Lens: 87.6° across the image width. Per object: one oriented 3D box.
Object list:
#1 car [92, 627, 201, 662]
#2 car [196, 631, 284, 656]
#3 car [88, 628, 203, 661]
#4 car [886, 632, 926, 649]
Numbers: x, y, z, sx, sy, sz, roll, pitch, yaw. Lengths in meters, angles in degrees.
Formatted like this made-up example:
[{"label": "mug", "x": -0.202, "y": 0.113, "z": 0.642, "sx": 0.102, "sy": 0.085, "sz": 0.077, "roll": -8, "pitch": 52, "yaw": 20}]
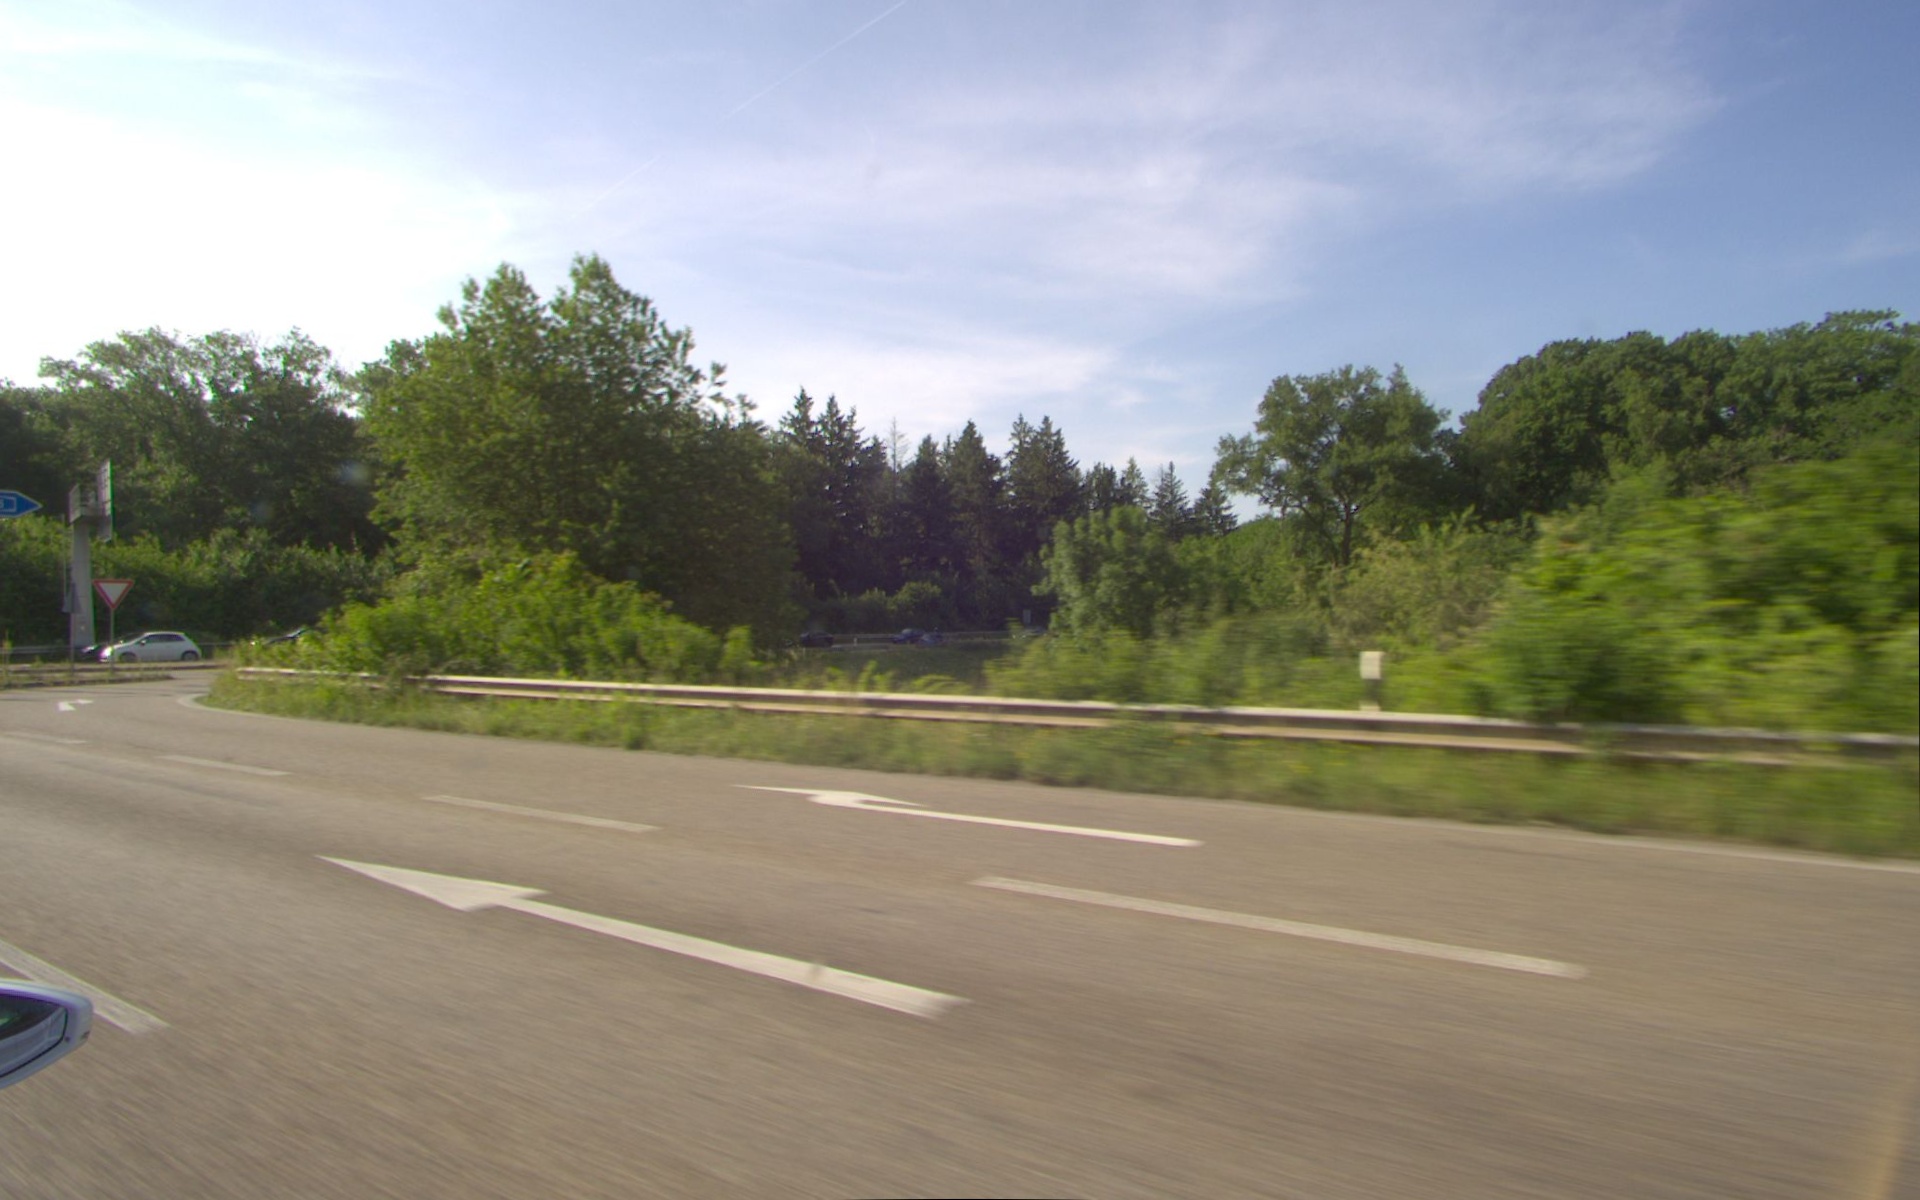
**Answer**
[{"label": "car", "x": -37.489, "y": 2.011, "z": 46.216, "sx": 1.785, "sy": 1.523, "sz": 3.586, "roll": -1, "pitch": -1, "yaw": 37}, {"label": "car", "x": -39.200, "y": 2.349, "z": 54.562, "sx": 1.472, "sy": 1.330, "sz": 3.614, "roll": -1, "pitch": -1, "yaw": 37}, {"label": "car", "x": -39.900, "y": 2.138, "z": 49.148, "sx": 1.762, "sy": 1.515, "sz": 4.097, "roll": -1, "pitch": -1, "yaw": 36}, {"label": "car", "x": -5.047, "y": 3.782, "z": 93.777, "sx": 1.786, "sy": 1.523, "sz": 3.583, "roll": -1, "pitch": -1, "yaw": 39}]
